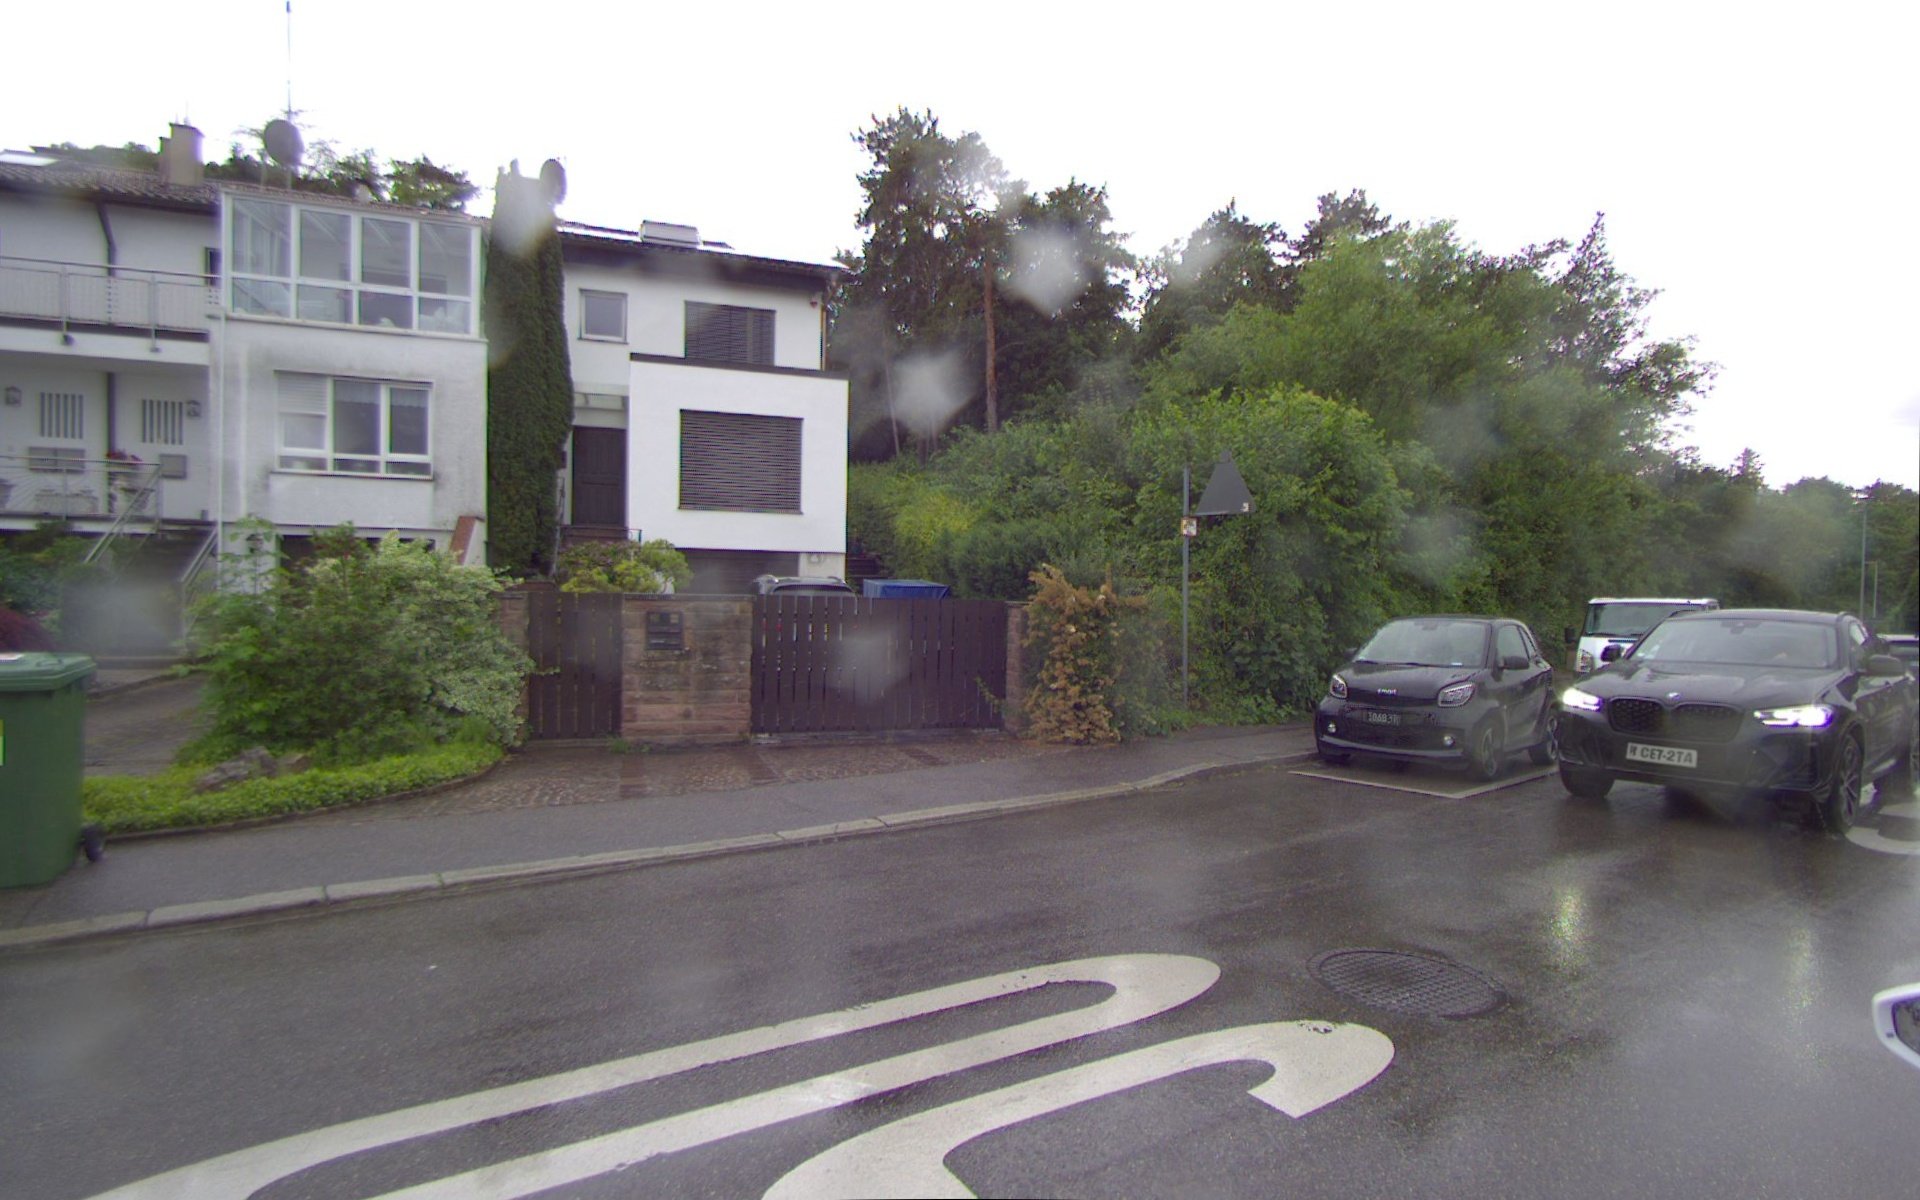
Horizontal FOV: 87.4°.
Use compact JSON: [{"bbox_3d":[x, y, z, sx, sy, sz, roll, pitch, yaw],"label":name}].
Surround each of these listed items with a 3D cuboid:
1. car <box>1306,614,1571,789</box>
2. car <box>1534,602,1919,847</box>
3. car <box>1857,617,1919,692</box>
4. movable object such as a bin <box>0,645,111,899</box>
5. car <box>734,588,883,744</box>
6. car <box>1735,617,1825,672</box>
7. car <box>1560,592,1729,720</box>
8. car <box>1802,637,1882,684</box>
[{"bbox_3d":[5.047,0.935,10.476,2.923,1.531,1.586,2,-1,-44],"label":"car"},{"bbox_3d":[6.902,0.882,8.862,4.310,1.626,1.913,2,-1,-41],"label":"car"},{"bbox_3d":[22.928,1.386,24.228,1.847,1.531,4.073,3,-3,42],"label":"car"},{"bbox_3d":[-4.643,0.797,4.860,0.614,1.082,0.842,0,2,-26],"label":"movable object such as a bin"},{"bbox_3d":[-2.353,0.829,14.829,1.711,1.975,3.671,0,1,-16],"label":"car"},{"bbox_3d":[27.346,1.433,33.619,1.967,1.627,4.395,2,0,35],"label":"car"},{"bbox_3d":[12.584,0.922,18.301,2.086,2.001,5.149,0,-1,39],"label":"car"},{"bbox_3d":[31.880,2.126,36.415,1.733,1.481,4.286,2,0,36],"label":"car"}]
